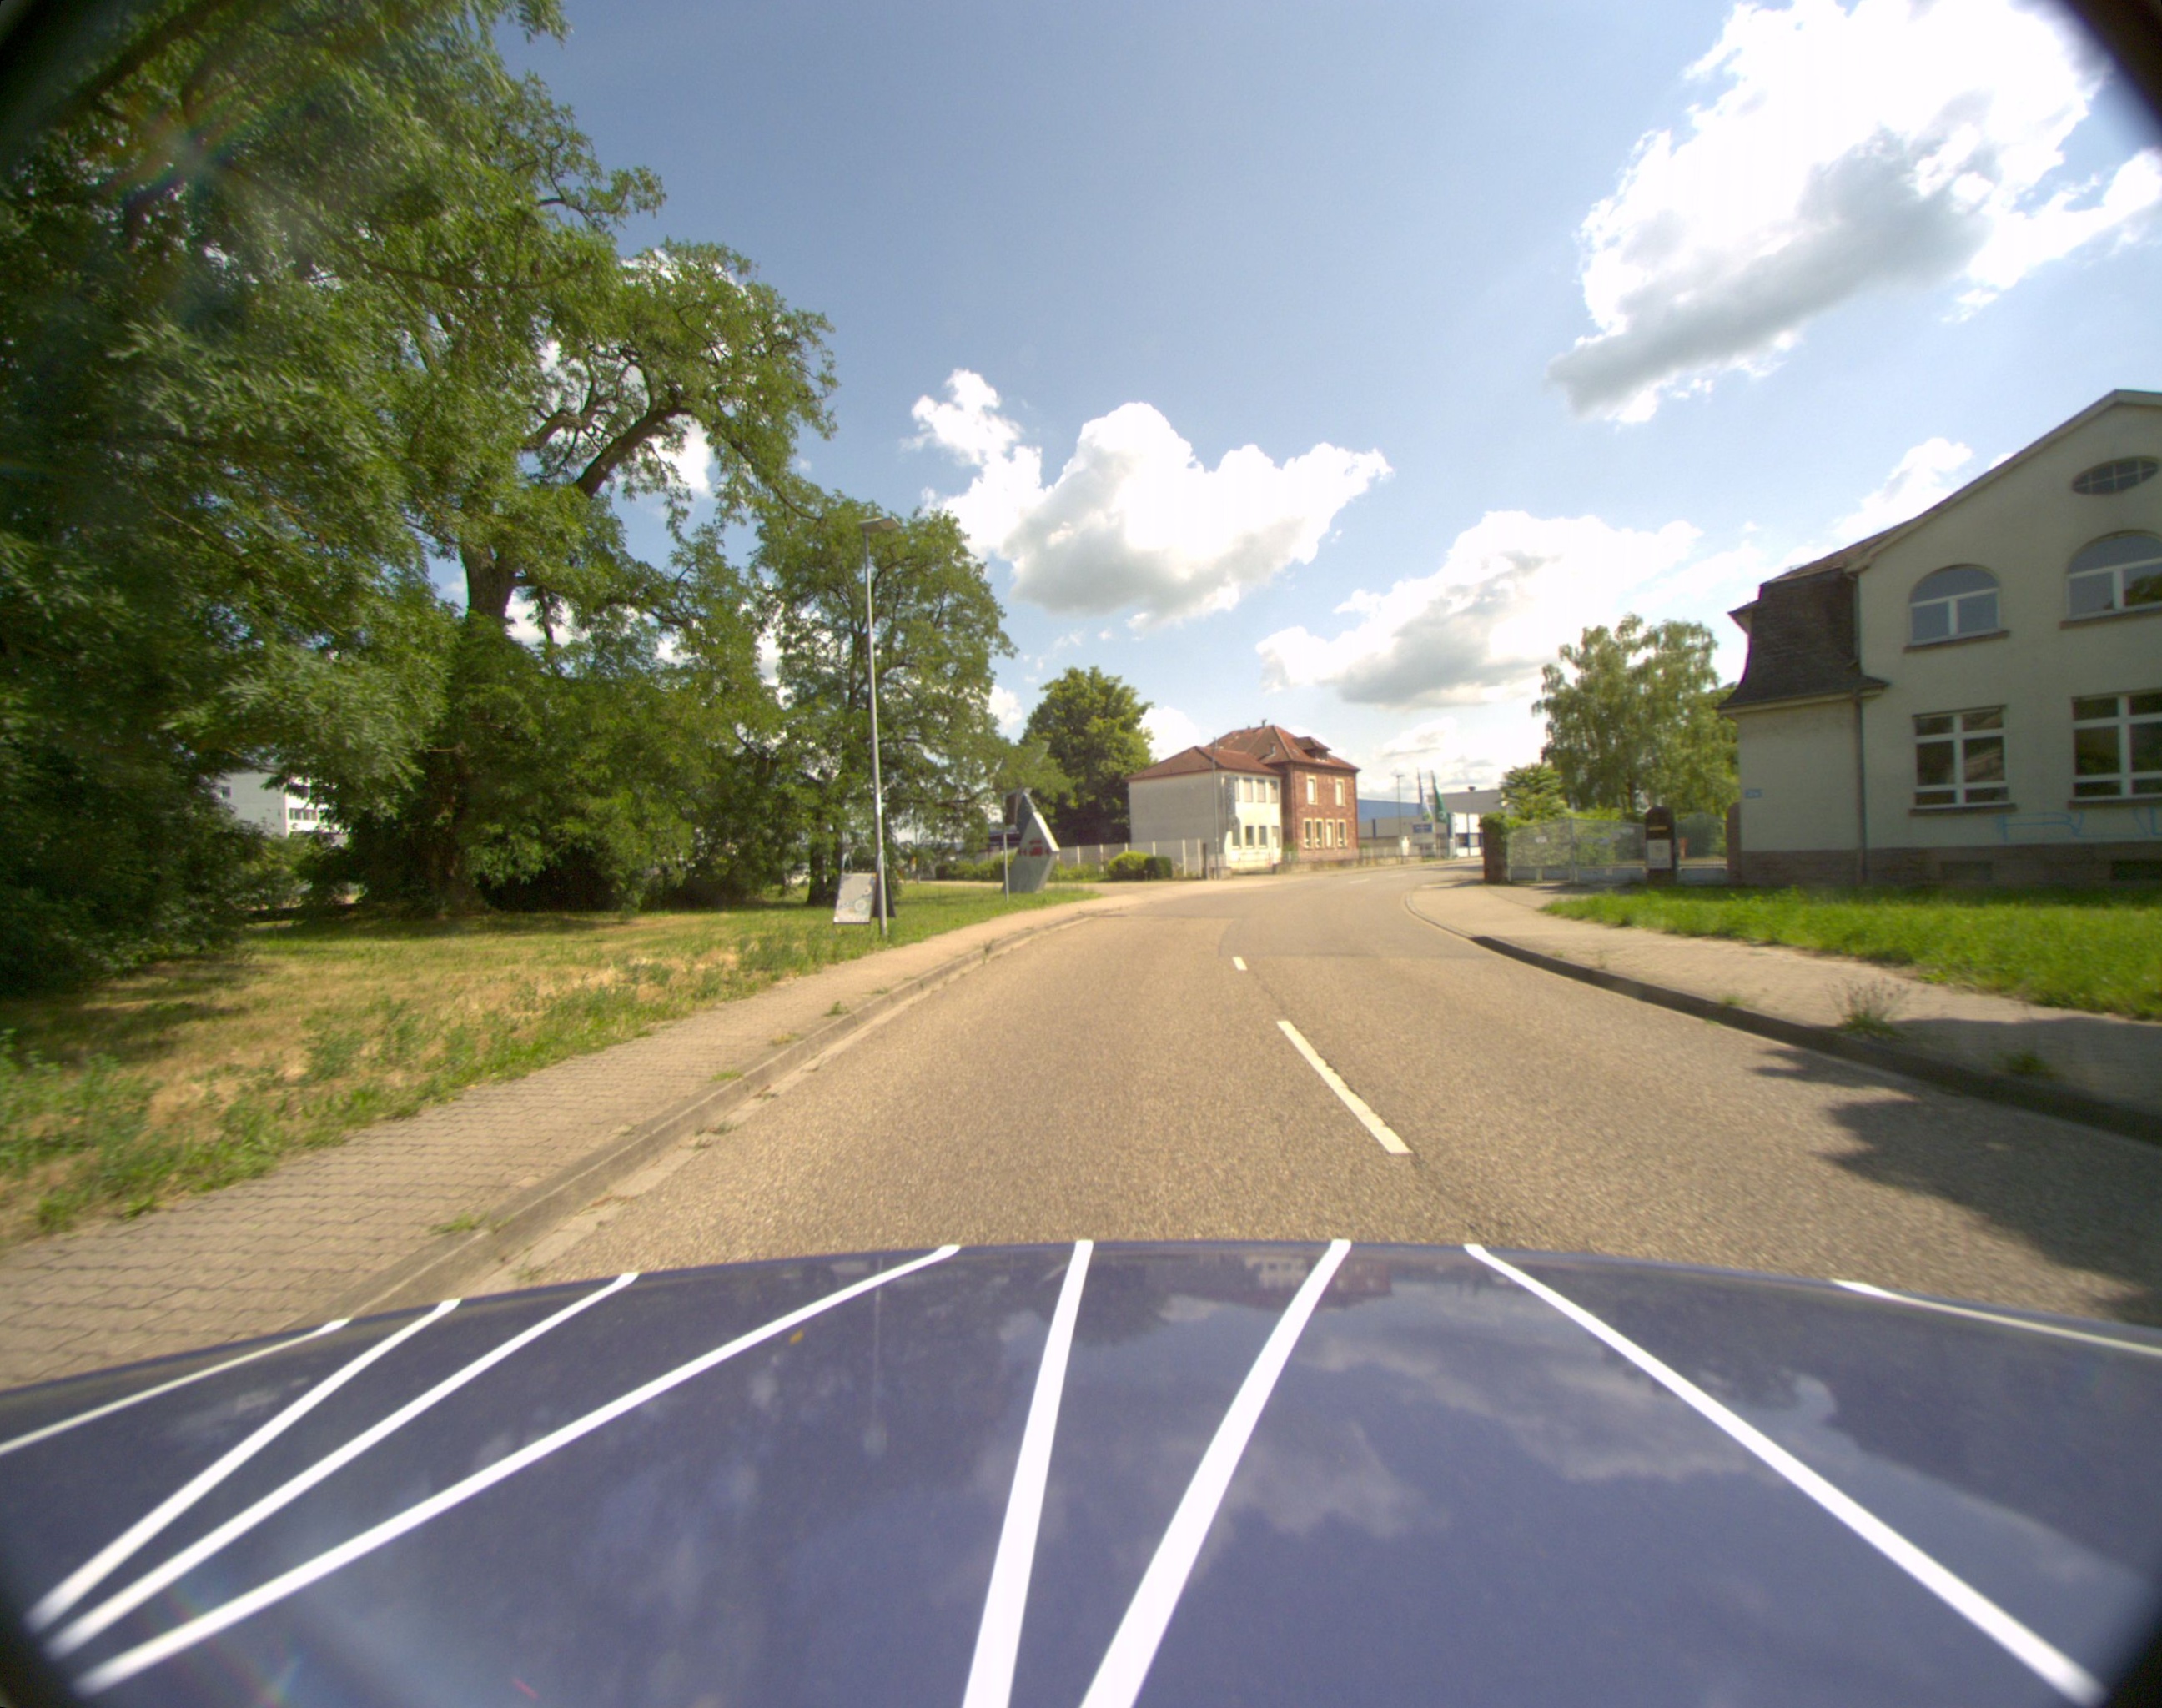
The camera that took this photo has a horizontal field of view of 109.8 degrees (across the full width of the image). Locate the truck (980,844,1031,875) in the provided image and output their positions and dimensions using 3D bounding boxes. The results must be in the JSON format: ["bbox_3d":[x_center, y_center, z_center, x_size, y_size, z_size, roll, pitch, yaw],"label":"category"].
[{"bbox_3d":[-6.194,0.489,62.102,2.003,2.410,4.732,-2,1,-36],"label":"truck"}]
